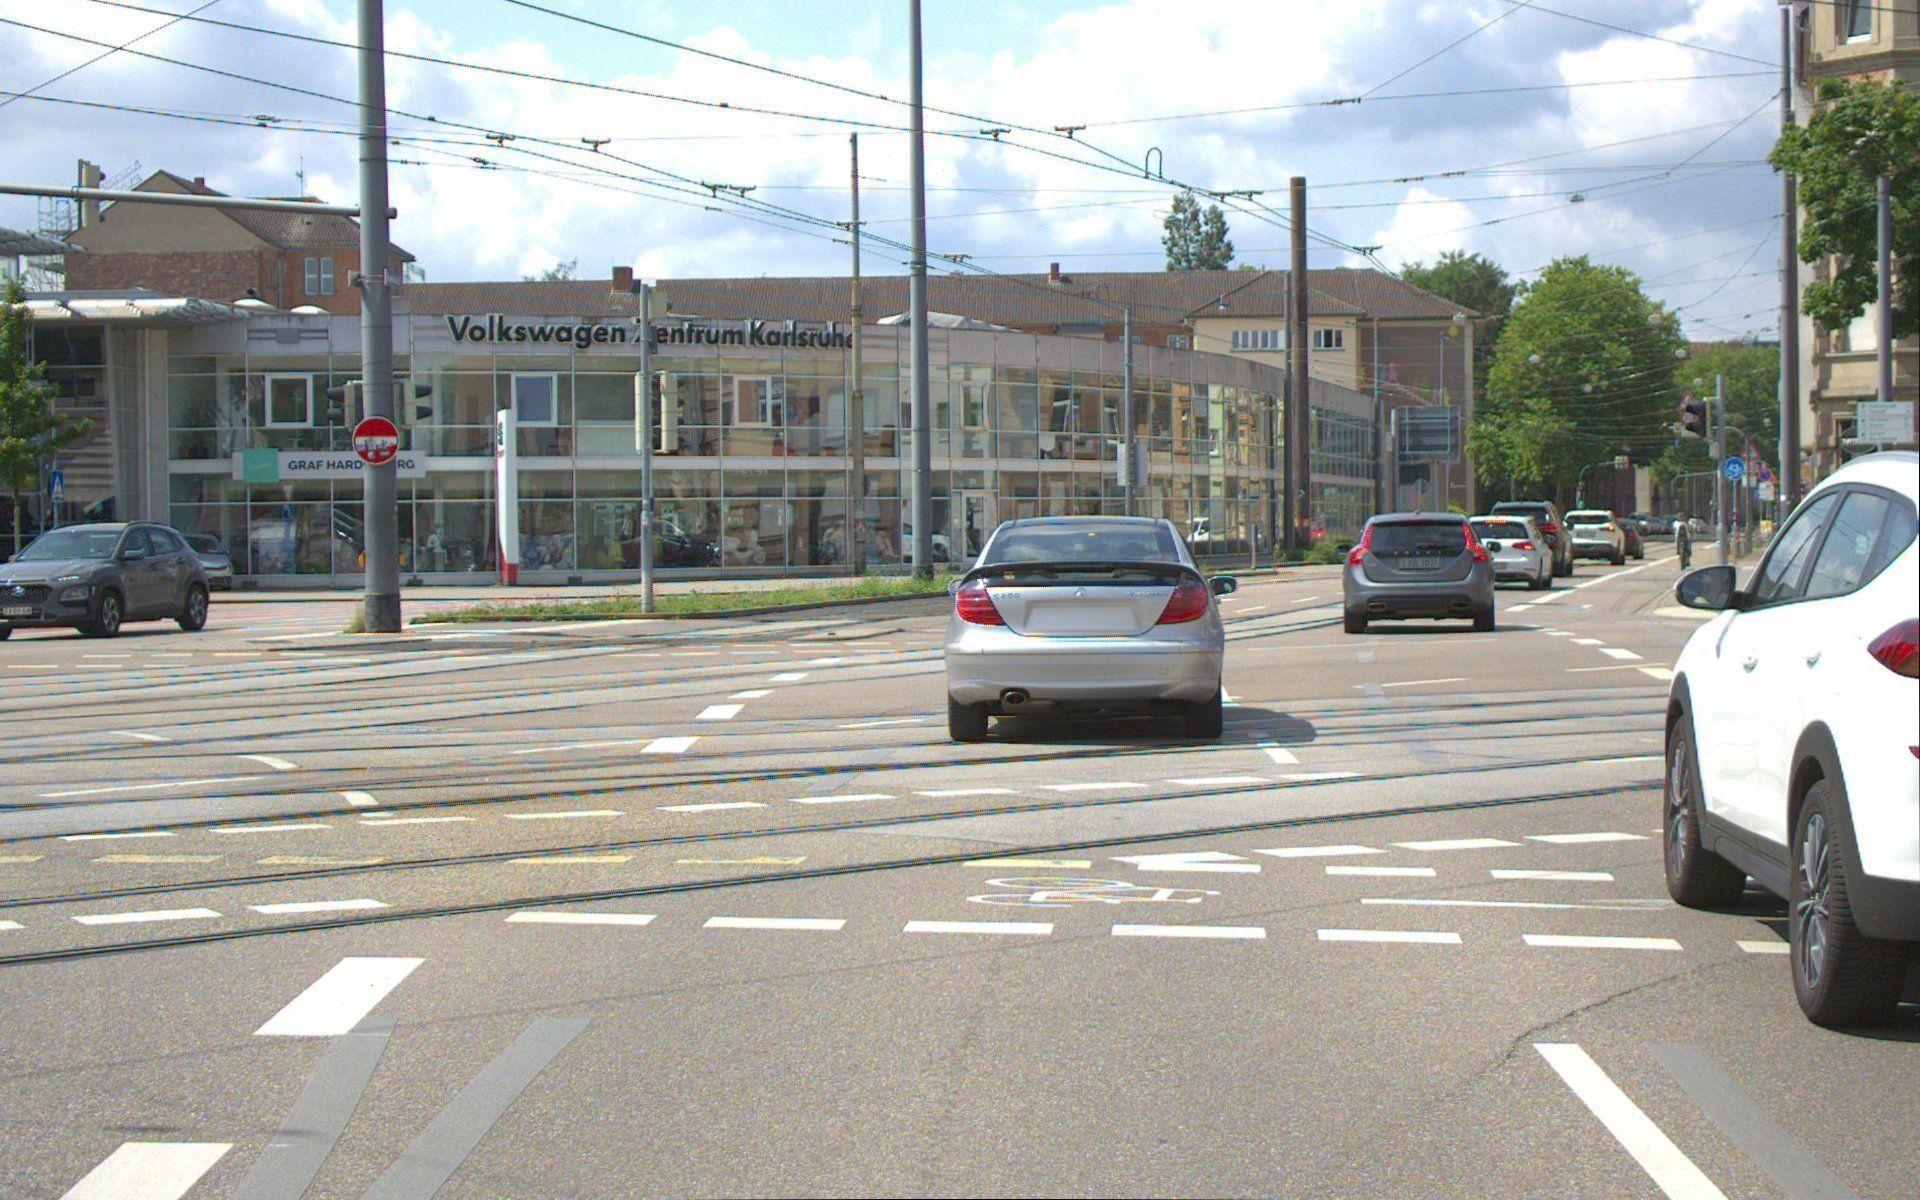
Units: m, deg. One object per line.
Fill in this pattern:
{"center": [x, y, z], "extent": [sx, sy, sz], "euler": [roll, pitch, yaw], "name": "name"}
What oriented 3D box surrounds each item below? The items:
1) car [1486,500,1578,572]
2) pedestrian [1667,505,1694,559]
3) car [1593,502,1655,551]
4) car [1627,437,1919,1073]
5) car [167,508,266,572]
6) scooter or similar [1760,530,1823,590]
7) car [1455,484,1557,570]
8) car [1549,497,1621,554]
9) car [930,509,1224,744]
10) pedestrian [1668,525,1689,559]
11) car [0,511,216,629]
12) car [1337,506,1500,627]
{"center": [13.485, -1.517, 80.933], "extent": [1.882, 1.635, 3.955], "euler": [0, 1, 13], "name": "car"}
{"center": [19.618, -1.861, 93.626], "extent": [0.692, 1.452, 0.679], "euler": [1, 0, 13], "name": "pedestrian"}
{"center": [22.546, -2.493, 116.674], "extent": [1.882, 1.635, 3.955], "euler": [0, 1, 13], "name": "car"}
{"center": [3.366, 0.344, 10.906], "extent": [1.881, 1.635, 4.232], "euler": [0, 1, 3], "name": "car"}
{"center": [-19.256, -1.540, 89.211], "extent": [1.993, 1.568, 4.001], "euler": [1, 0, -5], "name": "car"}
{"center": [16.750, -0.803, 69.212], "extent": [1.517, 1.170, 0.383], "euler": [1, 0, -39], "name": "scooter or similar"}
{"center": [10.794, -1.450, 67.802], "extent": [1.882, 1.635, 3.955], "euler": [0, 1, 10], "name": "car"}
{"center": [18.481, -2.206, 101.571], "extent": [1.882, 1.635, 3.955], "euler": [0, 1, 13], "name": "car"}
{"center": [0.824, 0.105, 22.446], "extent": [1.741, 1.387, 4.179], "euler": [0, 1, 4], "name": "car"}
{"center": [19.562, -1.574, 93.609], "extent": [0.525, 0.903, 1.560], "euler": [1, 0, 13], "name": "pedestrian"}
{"center": [-11.818, -0.441, 46.754], "extent": [1.719, 1.526, 4.119], "euler": [0, 1, 13], "name": "car"}
{"center": [5.593, -0.441, 42.219], "extent": [1.881, 1.414, 3.956], "euler": [0, 1, 7], "name": "car"}
